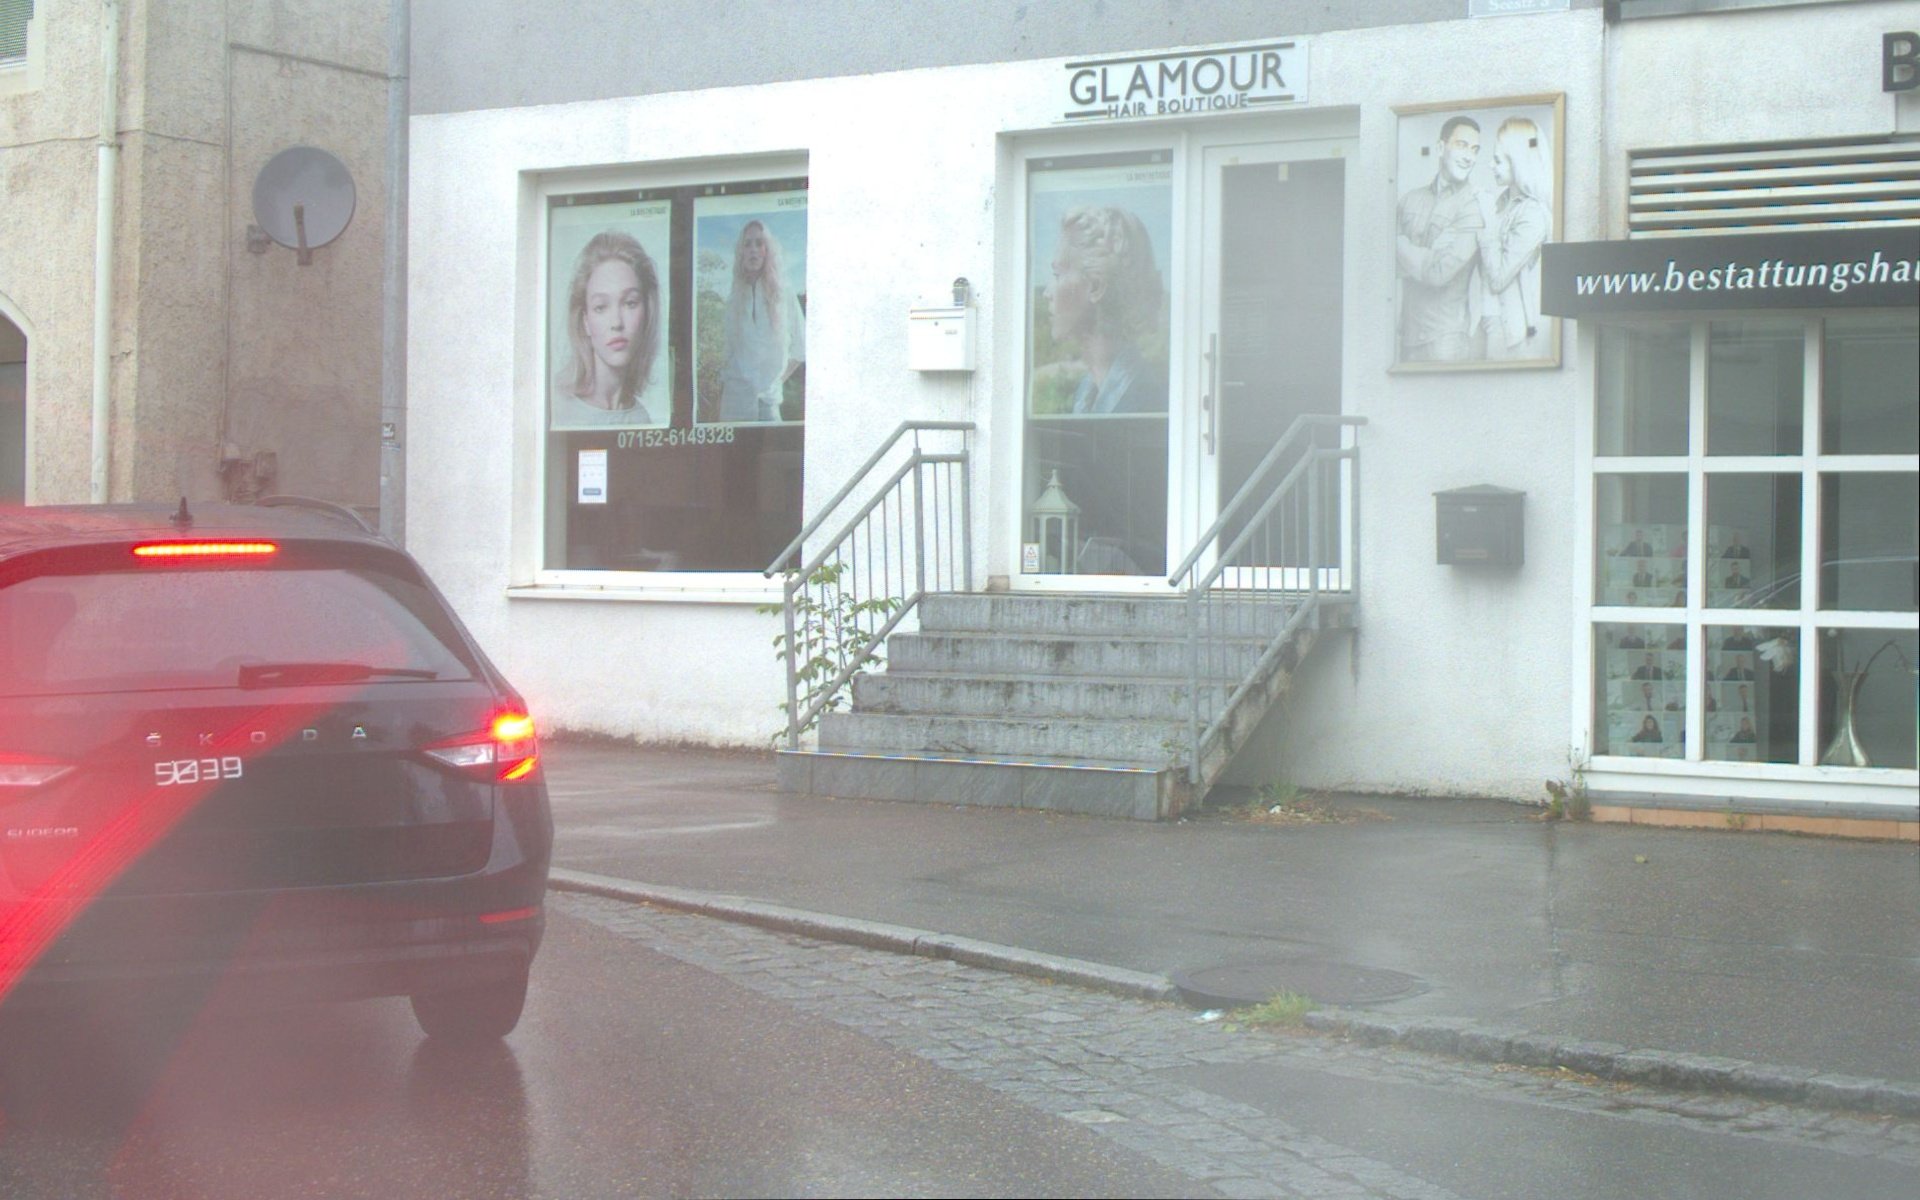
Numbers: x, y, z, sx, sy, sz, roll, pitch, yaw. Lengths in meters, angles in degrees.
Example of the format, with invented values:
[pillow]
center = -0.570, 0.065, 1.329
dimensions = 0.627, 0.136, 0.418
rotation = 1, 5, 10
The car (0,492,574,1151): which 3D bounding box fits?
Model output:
[car]
center = -2.562, 0.442, 9.997
dimensions = 1.732, 1.445, 4.243
rotation = -1, 3, -23
